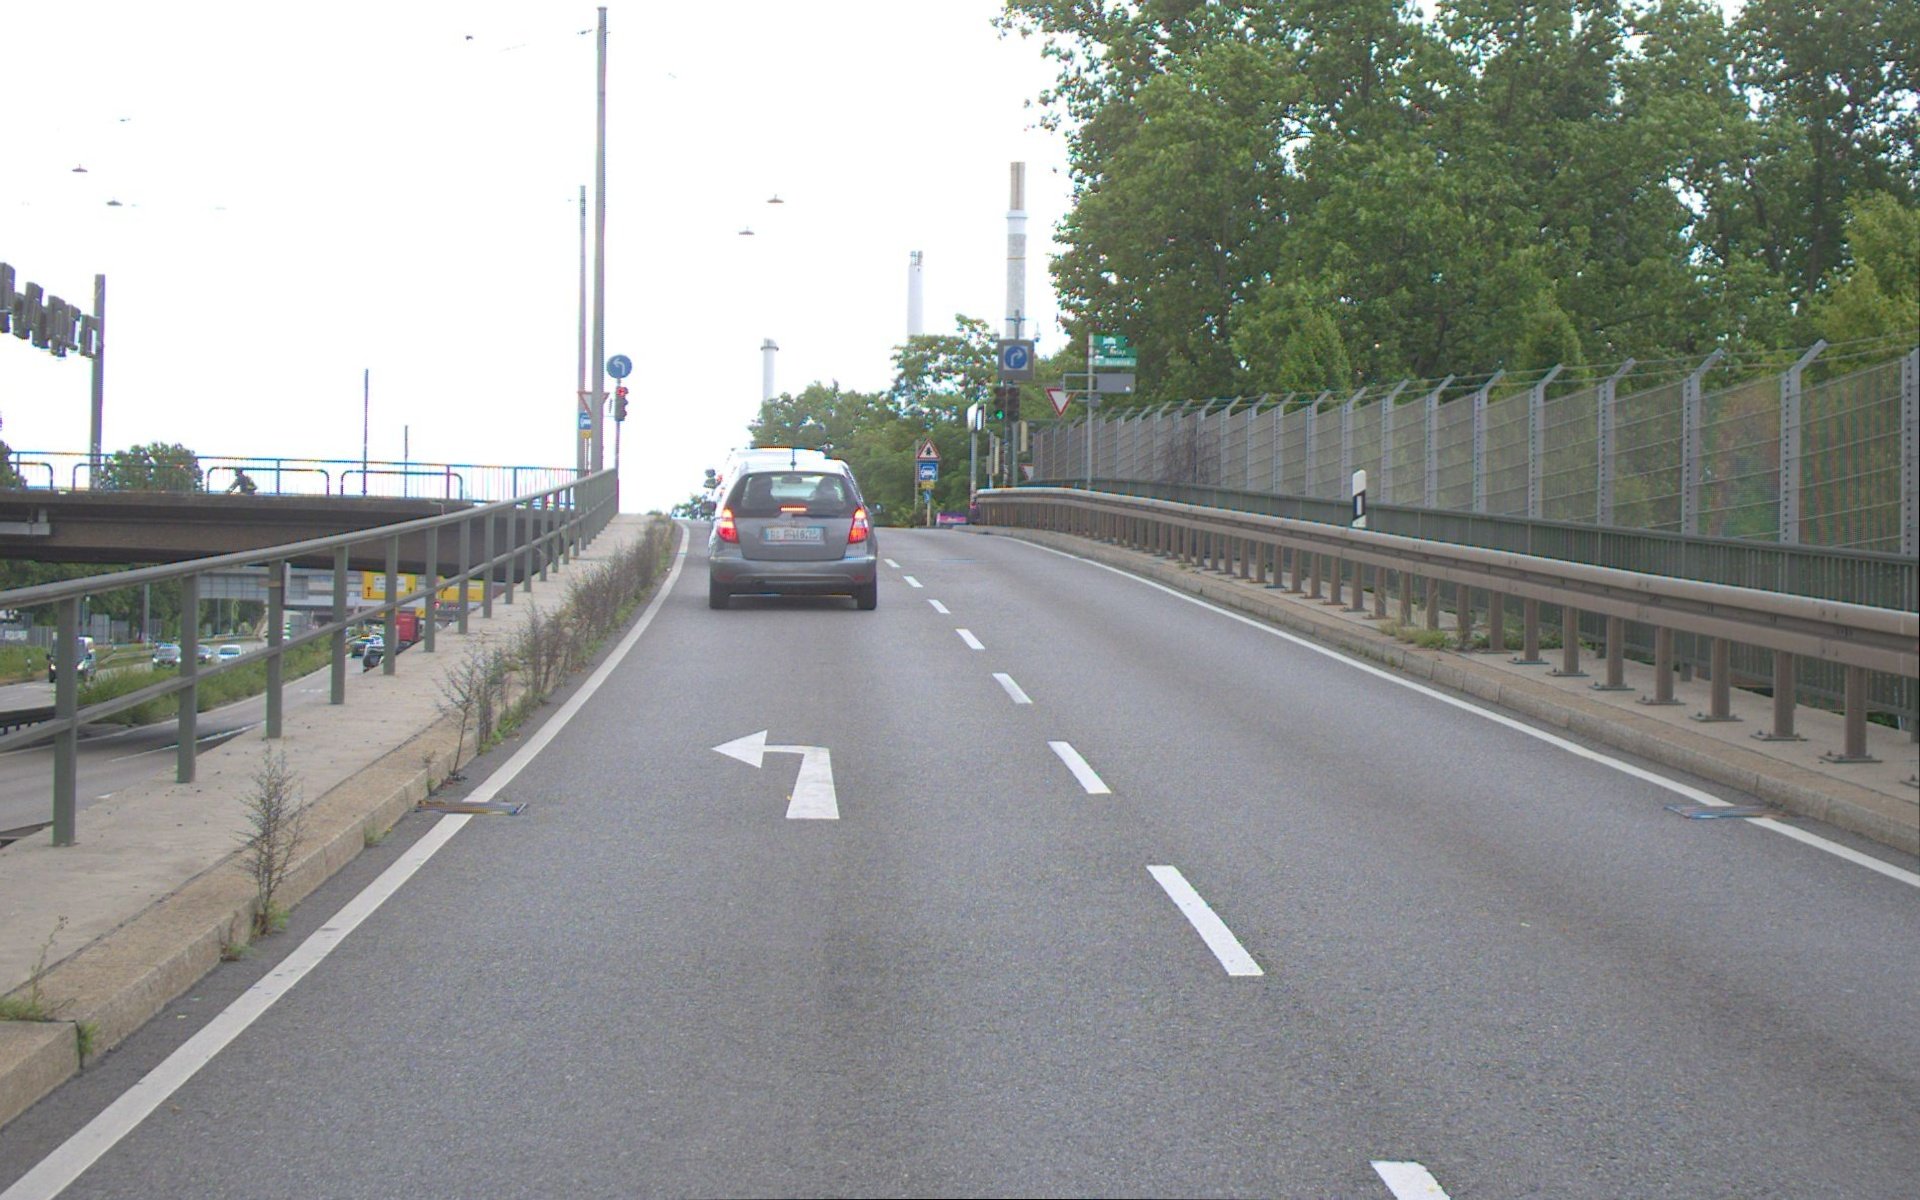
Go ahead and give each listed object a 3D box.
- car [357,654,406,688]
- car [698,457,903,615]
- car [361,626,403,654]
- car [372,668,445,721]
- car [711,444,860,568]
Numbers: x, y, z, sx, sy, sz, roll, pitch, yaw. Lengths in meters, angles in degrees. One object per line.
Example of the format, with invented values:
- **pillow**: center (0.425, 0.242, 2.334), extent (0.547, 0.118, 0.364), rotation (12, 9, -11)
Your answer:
- **car**: center (-31.727, 3.906, 188.698), extent (1.993, 1.678, 4.000), rotation (1, 1, 0)
- **car**: center (-1.660, -0.665, 37.035), extent (1.750, 1.575, 4.084), rotation (1, 0, 4)
- **car**: center (-37.083, 2.575, 220.739), extent (1.993, 1.678, 4.000), rotation (1, 1, 0)
- **car**: center (-16.844, 2.874, 105.120), extent (1.993, 1.415, 4.001), rotation (1, 1, -7)
- **car**: center (-2.456, -1.356, 48.278), extent (1.993, 1.597, 4.001), rotation (0, 4, -3)
